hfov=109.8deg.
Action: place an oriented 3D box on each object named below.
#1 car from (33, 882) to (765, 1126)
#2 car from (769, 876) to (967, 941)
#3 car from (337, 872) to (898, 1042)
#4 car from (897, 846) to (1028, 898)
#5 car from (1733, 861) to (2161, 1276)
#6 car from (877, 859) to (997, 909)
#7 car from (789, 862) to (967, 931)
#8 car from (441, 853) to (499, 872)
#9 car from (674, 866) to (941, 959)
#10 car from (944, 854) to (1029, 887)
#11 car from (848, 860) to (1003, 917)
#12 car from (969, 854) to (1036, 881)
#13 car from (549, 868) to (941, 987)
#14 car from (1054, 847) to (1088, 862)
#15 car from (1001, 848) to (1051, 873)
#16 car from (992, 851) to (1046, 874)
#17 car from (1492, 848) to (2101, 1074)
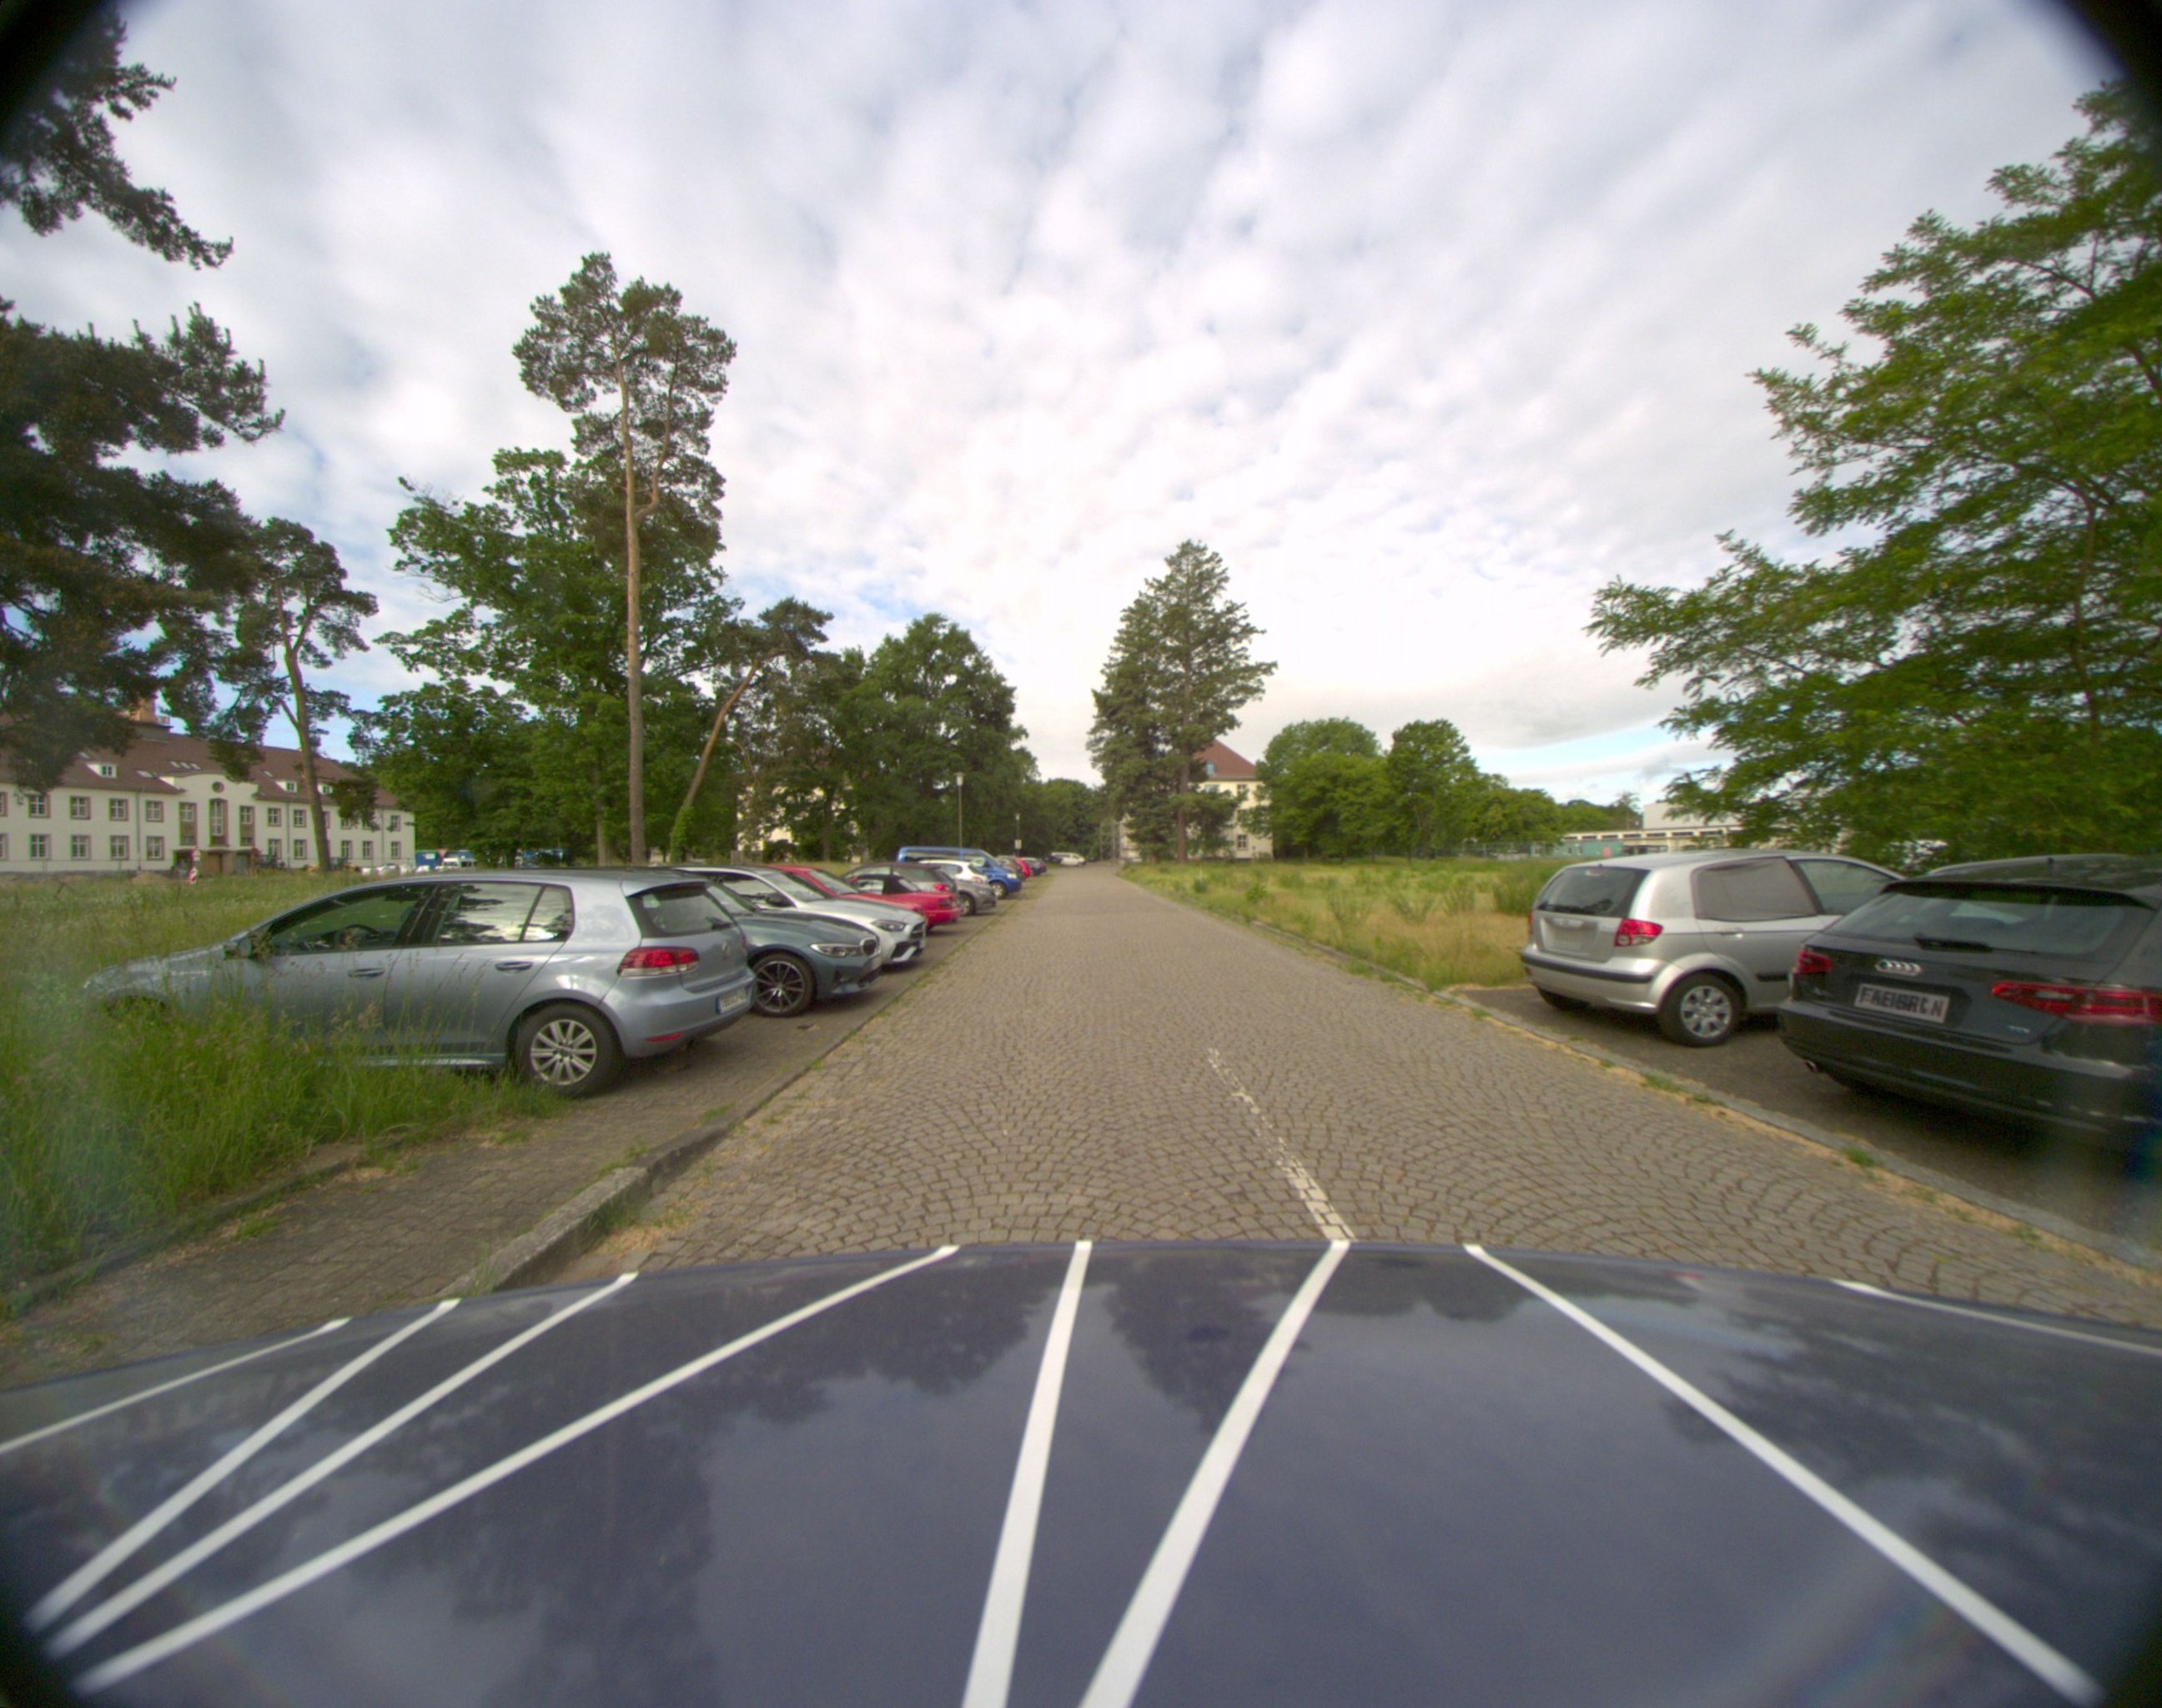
[{"bbox_3d":[-4.495,0.954,5.453,3.773,1.418,1.605,1,0,-1],"label":"car"},{"bbox_3d":[-4.244,1.076,15.508,3.600,1.200,1.494,-1,0,1],"label":"car"},{"bbox_3d":[-4.527,0.979,8.049,4.770,1.474,1.761,-1,0,-3],"label":"car"},{"bbox_3d":[-4.472,0.654,29.317,4.749,1.928,2.000,0,1,-1],"label":"car"},{"bbox_3d":[6.037,0.799,3.830,3.997,1.419,1.750,-3,1,-1],"label":"car"},{"bbox_3d":[-4.461,0.919,23.895,3.409,1.443,1.637,-1,1,1],"label":"car"},{"bbox_3d":[-4.740,0.977,18.182,3.787,1.497,1.798,-1,0,-2],"label":"car"},{"bbox_3d":[-68.592,0.904,85.457,2.153,2.002,5.224,-1,1,3],"label":"car"},{"bbox_3d":[-4.591,0.963,13.208,3.972,1.444,1.800,-1,0,0],"label":"car"},{"bbox_3d":[-4.699,0.798,38.257,3.997,1.601,2.000,-1,0,0],"label":"car"},{"bbox_3d":[-4.221,0.931,21.072,3.848,1.448,1.820,-1,0,2],"label":"car"},{"bbox_3d":[-4.963,0.827,48.587,3.997,1.521,2.000,-2,0,0],"label":"car"},{"bbox_3d":[-4.570,0.976,10.879,4.769,1.474,1.812,-1,0,0],"label":"car"},{"bbox_3d":[-1.454,0.119,112.117,5.031,2.164,2.000,-1,1,1],"label":"car"},{"bbox_3d":[-4.541,0.518,63.232,3.997,2.002,2.000,-1,1,1],"label":"car"},{"bbox_3d":[-4.768,0.639,58.835,4.007,1.752,2.000,-1,1,1],"label":"car"},{"bbox_3d":[5.902,0.776,6.579,3.689,1.444,1.807,-3,1,-5],"label":"car"}]
